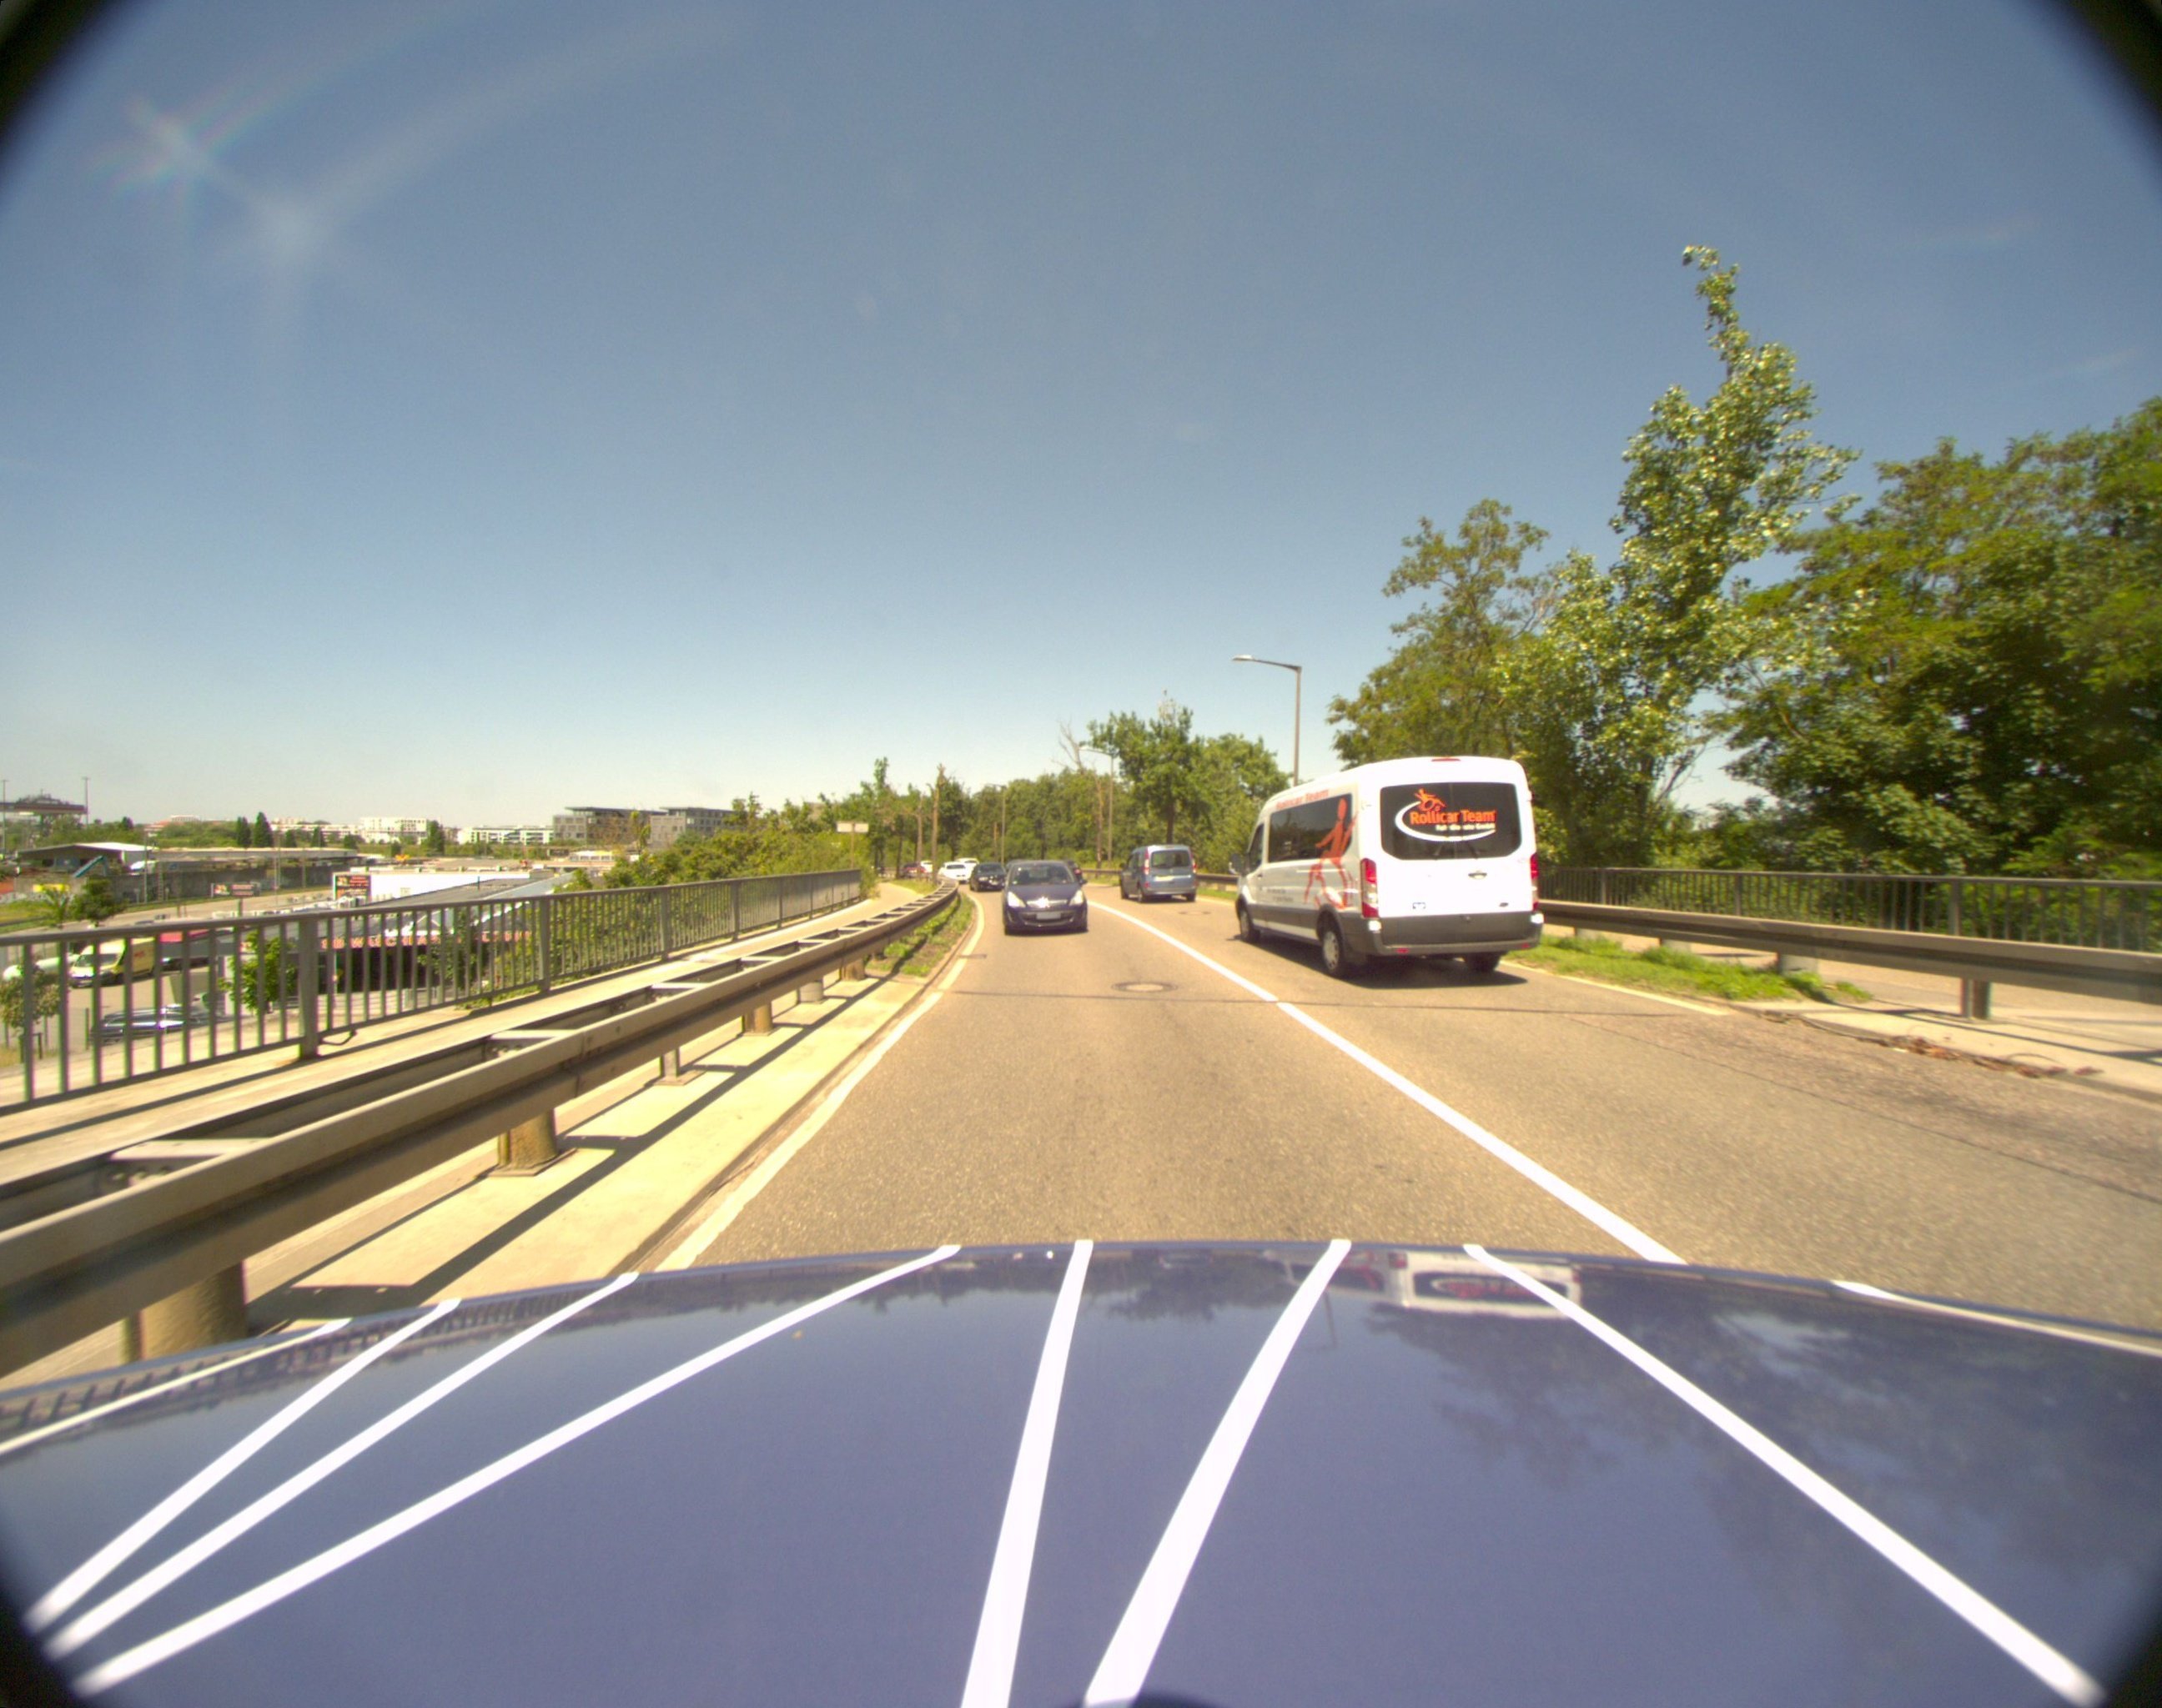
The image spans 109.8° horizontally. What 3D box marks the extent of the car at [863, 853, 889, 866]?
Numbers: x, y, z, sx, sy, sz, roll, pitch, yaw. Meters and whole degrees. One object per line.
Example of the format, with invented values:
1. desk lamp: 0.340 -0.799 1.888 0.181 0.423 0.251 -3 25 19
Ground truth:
1. car: -24.803 0.671 91.905 1.855 1.459 4.730 -2 0 -30

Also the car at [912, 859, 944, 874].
1. car: -15.667 1.282 77.492 1.709 1.438 4.449 -2 0 -32

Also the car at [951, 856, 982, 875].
1. car: -9.935 1.000 65.704 1.753 1.537 4.385 -1 0 -21

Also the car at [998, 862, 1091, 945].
1. car: -0.877 0.947 16.374 1.699 1.459 4.381 -2 0 -5

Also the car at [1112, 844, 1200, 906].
1. car: 2.357 0.627 25.094 1.762 1.844 4.271 -2 0 -10

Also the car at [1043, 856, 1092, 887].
1. car: -0.745 0.877 39.183 1.762 1.434 4.563 -2 0 -10

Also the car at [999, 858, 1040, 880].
1. car: -4.156 0.985 50.927 1.723 1.419 4.100 -1 0 -20

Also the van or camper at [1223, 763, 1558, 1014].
1. van or camper: 3.741 0.351 10.730 2.054 2.522 5.882 -2 0 -3

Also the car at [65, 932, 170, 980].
1. car: -61.708 6.473 48.827 2.155 2.338 4.919 -6 2 -27

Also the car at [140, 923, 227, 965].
1. car: -64.847 6.457 55.028 2.155 2.338 4.919 -6 2 -28

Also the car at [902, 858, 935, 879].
1. car: -14.500 1.256 67.616 1.904 1.645 4.248 -1 2 -25

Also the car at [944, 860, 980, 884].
1. car: -7.830 1.151 49.611 1.819 1.419 3.710 -2 0 -17

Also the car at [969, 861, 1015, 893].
1. car: -4.408 1.065 37.118 1.571 1.408 4.116 -2 0 -16
